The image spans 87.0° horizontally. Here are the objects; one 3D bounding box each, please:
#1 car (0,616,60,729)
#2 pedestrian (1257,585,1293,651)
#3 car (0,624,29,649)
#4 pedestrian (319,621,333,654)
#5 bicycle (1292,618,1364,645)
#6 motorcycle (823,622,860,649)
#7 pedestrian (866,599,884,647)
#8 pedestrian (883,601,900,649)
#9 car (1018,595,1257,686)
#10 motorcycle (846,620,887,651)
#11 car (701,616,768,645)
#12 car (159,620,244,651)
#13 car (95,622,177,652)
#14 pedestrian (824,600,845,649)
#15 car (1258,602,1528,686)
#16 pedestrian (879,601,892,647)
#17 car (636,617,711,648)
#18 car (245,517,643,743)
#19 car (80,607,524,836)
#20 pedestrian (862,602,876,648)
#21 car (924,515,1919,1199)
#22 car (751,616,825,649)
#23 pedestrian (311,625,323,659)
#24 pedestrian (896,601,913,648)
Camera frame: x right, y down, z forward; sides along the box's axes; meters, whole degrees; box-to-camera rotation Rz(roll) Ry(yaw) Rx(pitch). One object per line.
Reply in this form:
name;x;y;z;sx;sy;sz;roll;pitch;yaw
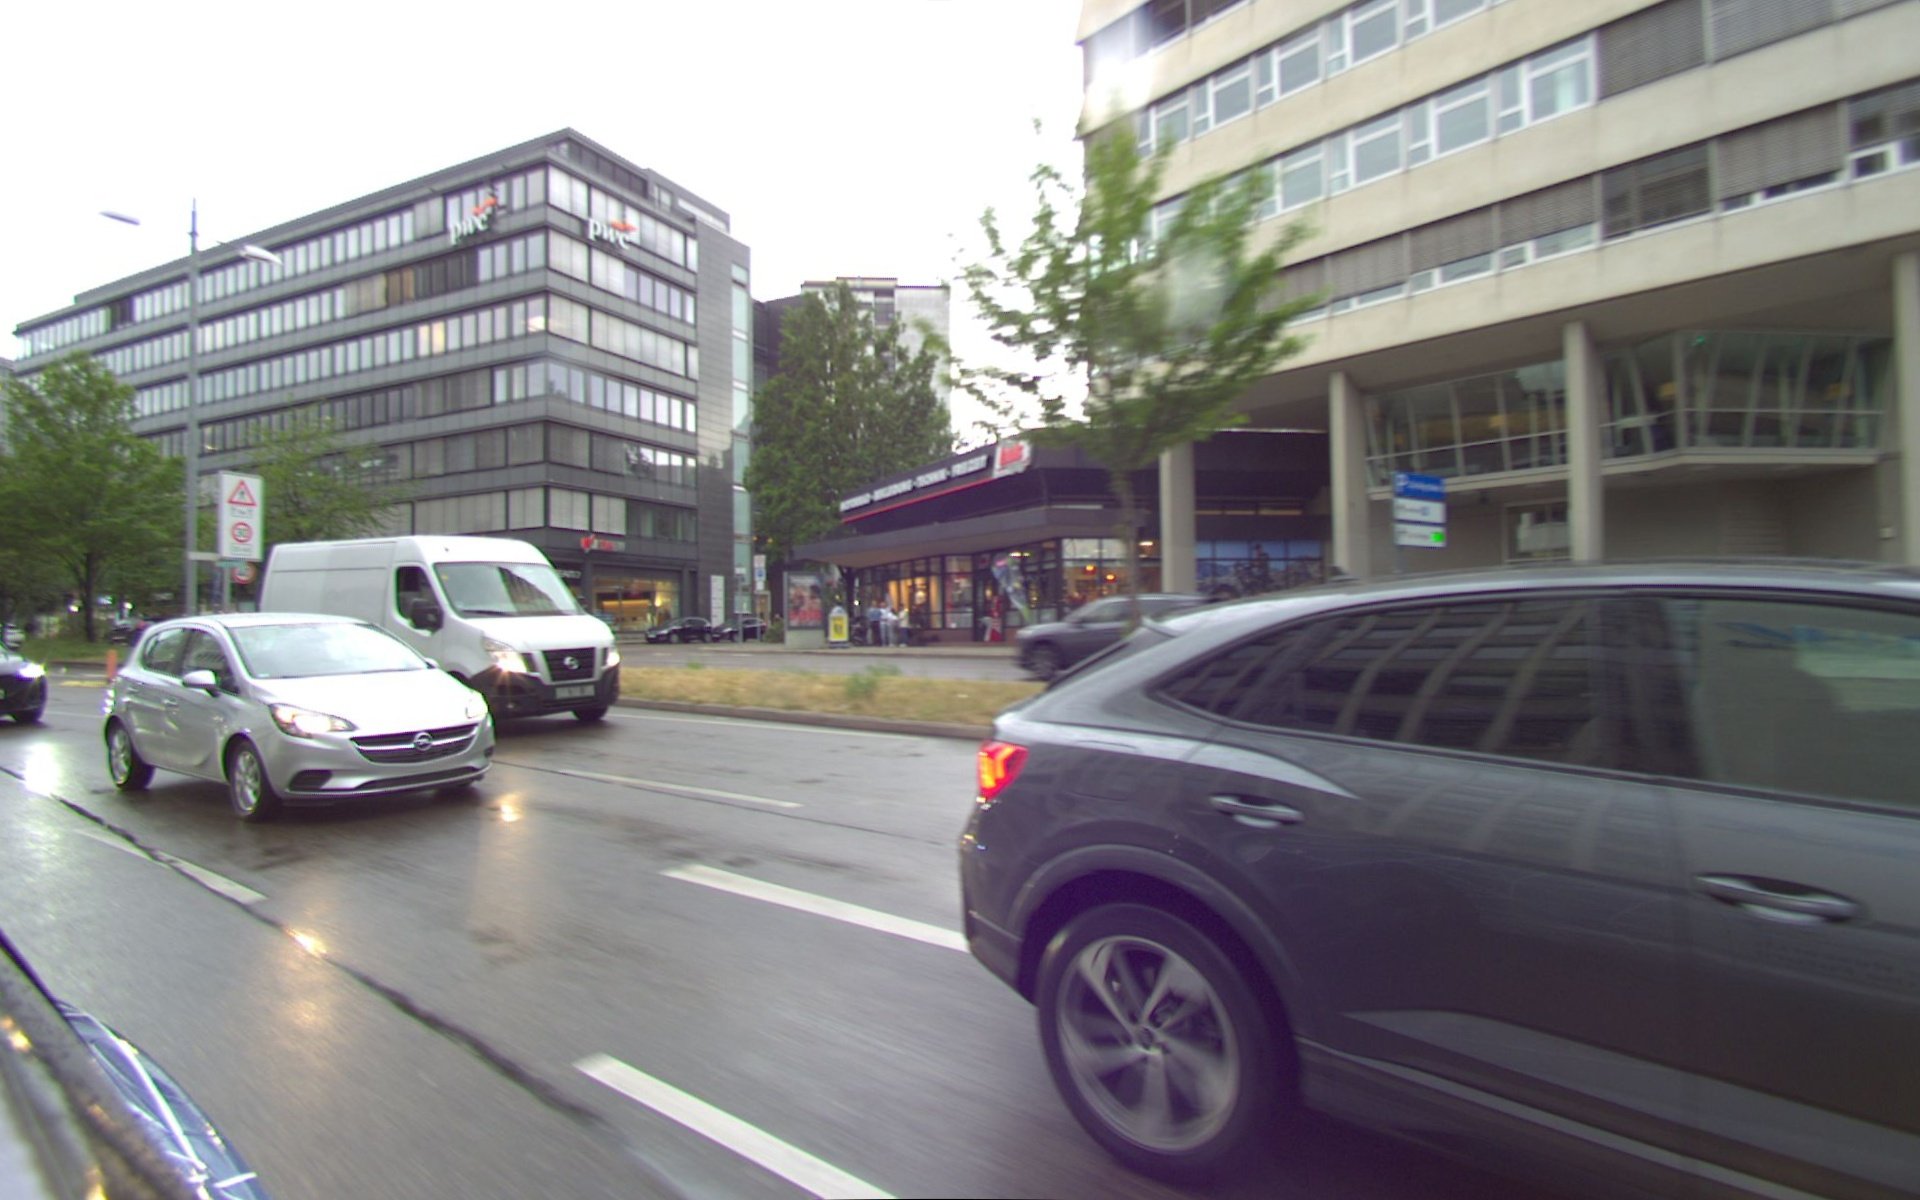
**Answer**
car;-14.286;0.982;13.719;4.074;1.446;1.761;-1;0;27
pedestrian;8.251;0.468;26.535;0.760;1.696;0.673;-1;-1;29
car;-59.863;2.286;62.678;3.979;1.518;1.982;-1;-1;27
pedestrian;-38.622;2.281;61.666;0.459;2.029;0.570;-1;-1;26
bicycle;12.259;1.044;33.747;2.183;0.866;0.455;0;0;31
motorcycle;-5.302;1.595;45.342;1.598;1.153;0.361;-1;-1;-18
pedestrian;-3.185;0.872;37.914;0.548;1.784;0.405;0;-1;-40
pedestrian;-2.620;0.949;38.631;0.422;1.784;0.470;0;-1;-40
car;3.280;0.730;19.091;4.144;1.547;1.629;-1;-1;36
motorcycle;-3.926;1.494;42.479;1.643;1.242;0.361;-1;-1;-9
car;-13.197;1.796;59.391;1.841;1.596;3.729;-1;-1;27
car;-39.320;1.848;52.450;3.979;1.518;1.982;-1;-1;27
car;-45.076;2.012;55.339;4.086;1.518;1.982;-1;-1;27
pedestrian;-4.602;0.902;37.240;0.528;1.784;0.551;0;-1;-40
car;8.137;0.756;19.226;4.406;1.389;1.844;0;0;39
pedestrian;-2.933;0.949;39.683;0.323;1.784;0.358;0;-1;-40
car;-15.493;1.751;54.911;1.841;1.596;3.729;-1;-1;27
car;-6.830;0.373;13.192;5.457;2.459;1.933;-1;0;30
car;-5.466;0.827;8.282;3.864;1.446;1.635;-1;0;33
pedestrian;-3.515;0.960;38.949;0.323;1.784;0.438;0;-1;-41
car;2.035;0.624;2.179;4.270;1.533;1.631;-1;0;42
car;-8.647;1.619;51.217;1.841;1.596;3.729;-1;-1;27
pedestrian;-38.114;2.480;59.976;0.295;2.029;0.536;-1;-1;25
pedestrian;-2.144;0.942;38.968;0.422;1.784;0.470;0;-1;-40
